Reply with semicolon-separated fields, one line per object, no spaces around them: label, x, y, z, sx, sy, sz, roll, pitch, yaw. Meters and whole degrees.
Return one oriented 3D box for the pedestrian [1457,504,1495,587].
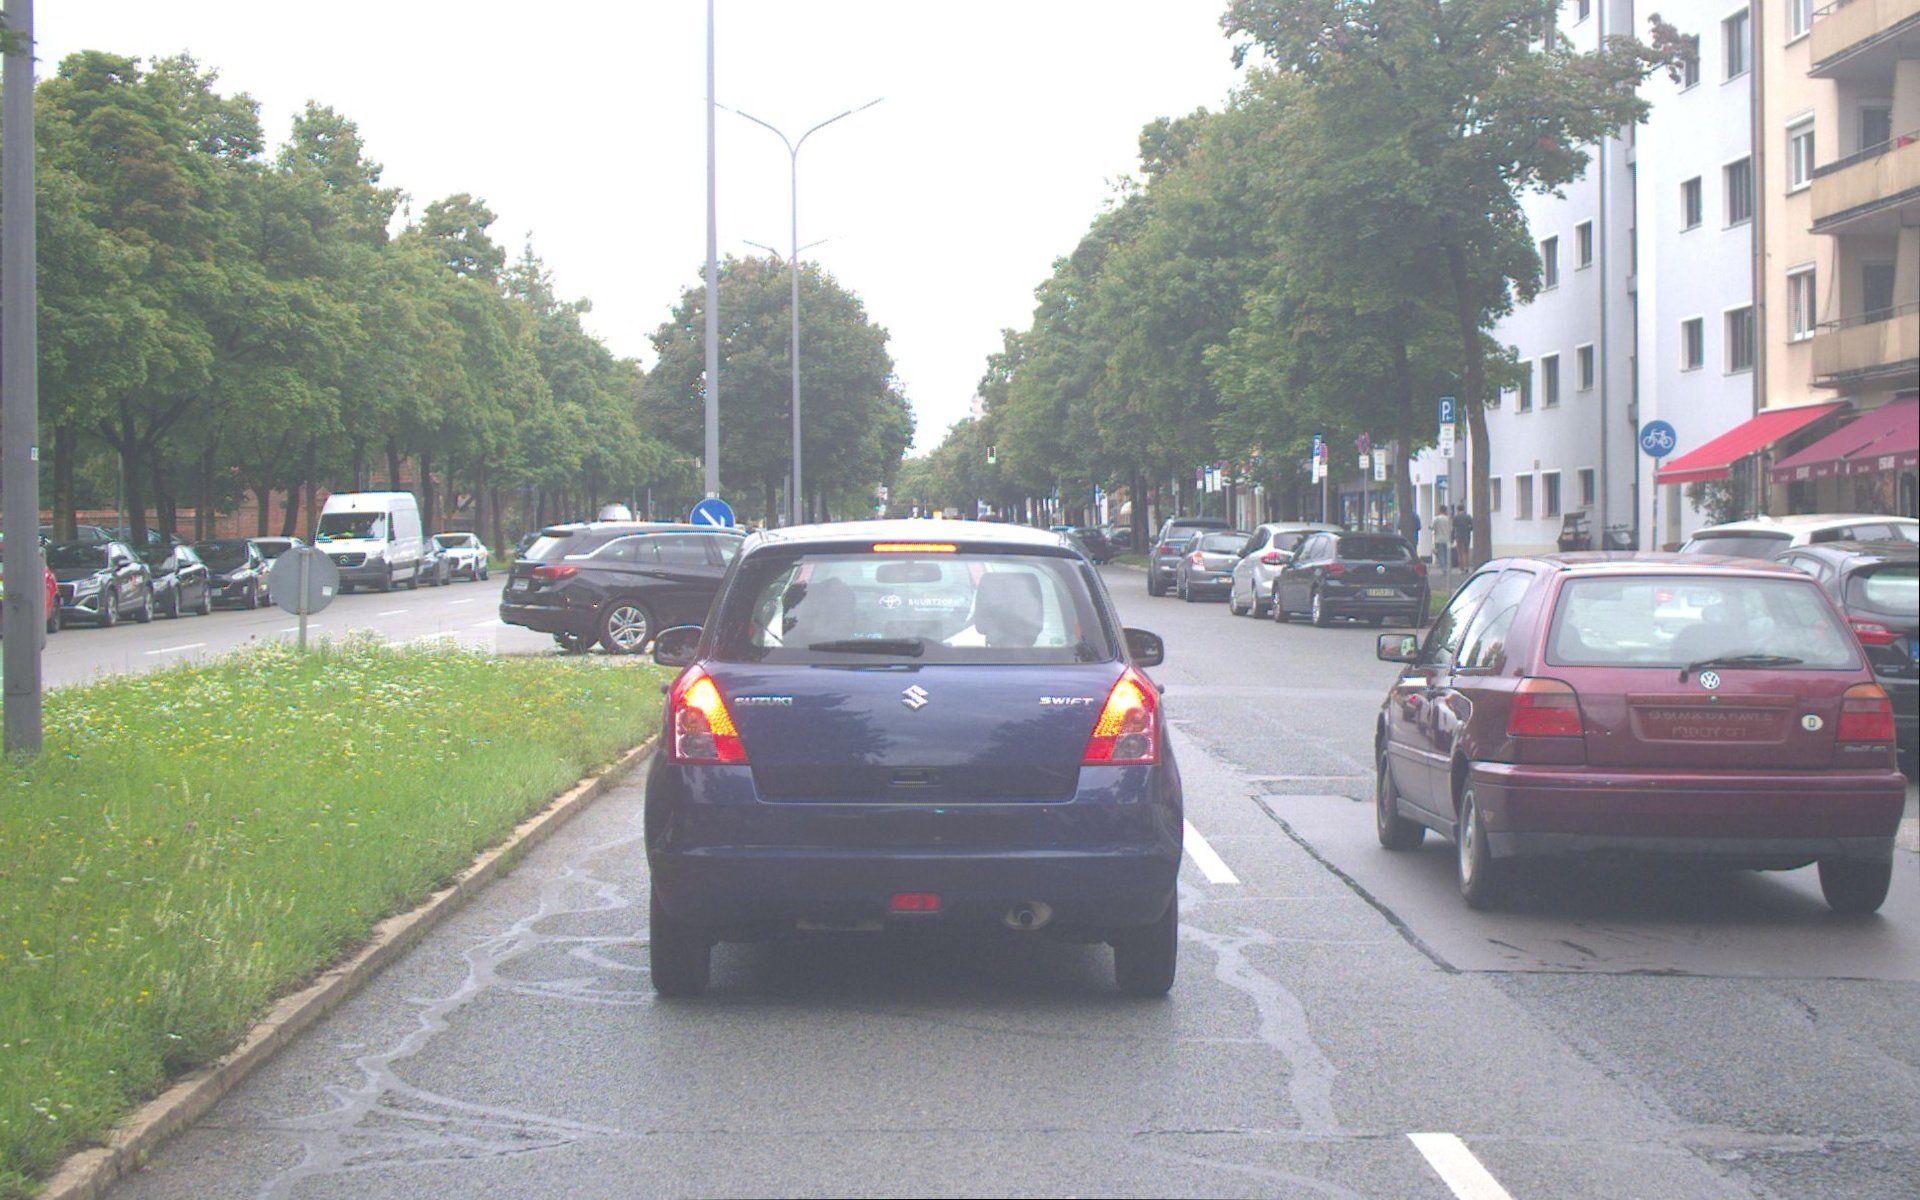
pedestrian;12.587;-1.332;83.858;0.794;2.007;1.006;0;1;0

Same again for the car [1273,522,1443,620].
car;6.068;-0.477;52.825;1.865;1.412;4.225;-1;2;-4

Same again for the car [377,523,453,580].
car;-15.615;-1.391;98.618;1.632;1.577;3.879;1;1;-1

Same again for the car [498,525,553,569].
car;-16.332;-1.999;129.262;1.632;1.577;3.879;1;1;-1

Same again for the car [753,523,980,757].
car;-0.637;0.221;23.504;1.444;1.478;3.107;0;2;-1

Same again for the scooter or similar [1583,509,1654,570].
scooter or similar;14.424;-1.343;75.401;1.033;1.303;2.755;0;1;0

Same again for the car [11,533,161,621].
car;-15.065;-0.422;59.412;1.667;1.440;3.879;1;1;-1

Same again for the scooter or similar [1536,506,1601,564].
scooter or similar;14.026;-1.499;79.280;1.033;1.303;2.755;0;1;0

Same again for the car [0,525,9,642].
car;-14.952;-0.222;49.105;1.716;1.735;3.879;1;1;-1

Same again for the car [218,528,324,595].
car;-15.317;-0.878;76.560;1.632;1.426;3.879;1;1;-1

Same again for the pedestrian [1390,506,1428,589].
pedestrian;10.944;-1.274;83.744;0.794;2.007;1.006;0;1;0

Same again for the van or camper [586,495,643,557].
van or camper;-18.816;-4.042;187.462;2.561;3.284;6.938;1;1;-1

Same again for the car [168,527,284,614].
car;-15.178;-0.632;71.228;1.632;1.735;3.879;1;1;-1

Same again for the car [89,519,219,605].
car;-15.166;-0.736;64.847;1.590;1.553;3.879;1;1;-1

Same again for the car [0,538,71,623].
car;-15.349;-0.334;54.675;1.590;1.307;3.381;1;1;-1

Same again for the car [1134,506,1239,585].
car;4.941;-1.224;75.472;1.865;1.677;4.225;-1;2;-2

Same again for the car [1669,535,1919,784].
car;5.831;0.335;22.314;1.617;1.460;3.674;2;1;-1

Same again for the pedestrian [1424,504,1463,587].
pedestrian;11.773;-1.338;83.712;0.794;2.007;1.006;0;1;0

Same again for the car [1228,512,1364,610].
car;5.630;-0.685;57.999;1.791;1.553;4.225;-1;2;-1

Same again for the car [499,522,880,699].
car;-2.479;0.043;30.751;1.682;1.458;3.733;-1;2;-36

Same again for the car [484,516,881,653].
car;-3.160;-0.203;39.084;4.121;1.463;1.840;-1;2;-22

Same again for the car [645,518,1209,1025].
car;-0.149;0.467;12.215;1.682;1.496;3.919;0;2;-1

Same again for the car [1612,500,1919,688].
car;8.456;-0.070;32.444;4.393;1.655;1.872;0;2;-32

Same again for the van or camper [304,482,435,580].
van or camper;-15.507;-1.816;90.729;2.117;2.473;7.449;1;1;0

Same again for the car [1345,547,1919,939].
car;2.738;0.495;14.535;1.682;1.379;3.919;1;1;-1

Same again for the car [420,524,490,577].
car;-15.520;-1.535;105.828;1.632;1.577;3.879;1;1;-1

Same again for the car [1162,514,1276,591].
car;5.303;-1.007;70.853;1.865;1.512;4.225;-1;2;-2
